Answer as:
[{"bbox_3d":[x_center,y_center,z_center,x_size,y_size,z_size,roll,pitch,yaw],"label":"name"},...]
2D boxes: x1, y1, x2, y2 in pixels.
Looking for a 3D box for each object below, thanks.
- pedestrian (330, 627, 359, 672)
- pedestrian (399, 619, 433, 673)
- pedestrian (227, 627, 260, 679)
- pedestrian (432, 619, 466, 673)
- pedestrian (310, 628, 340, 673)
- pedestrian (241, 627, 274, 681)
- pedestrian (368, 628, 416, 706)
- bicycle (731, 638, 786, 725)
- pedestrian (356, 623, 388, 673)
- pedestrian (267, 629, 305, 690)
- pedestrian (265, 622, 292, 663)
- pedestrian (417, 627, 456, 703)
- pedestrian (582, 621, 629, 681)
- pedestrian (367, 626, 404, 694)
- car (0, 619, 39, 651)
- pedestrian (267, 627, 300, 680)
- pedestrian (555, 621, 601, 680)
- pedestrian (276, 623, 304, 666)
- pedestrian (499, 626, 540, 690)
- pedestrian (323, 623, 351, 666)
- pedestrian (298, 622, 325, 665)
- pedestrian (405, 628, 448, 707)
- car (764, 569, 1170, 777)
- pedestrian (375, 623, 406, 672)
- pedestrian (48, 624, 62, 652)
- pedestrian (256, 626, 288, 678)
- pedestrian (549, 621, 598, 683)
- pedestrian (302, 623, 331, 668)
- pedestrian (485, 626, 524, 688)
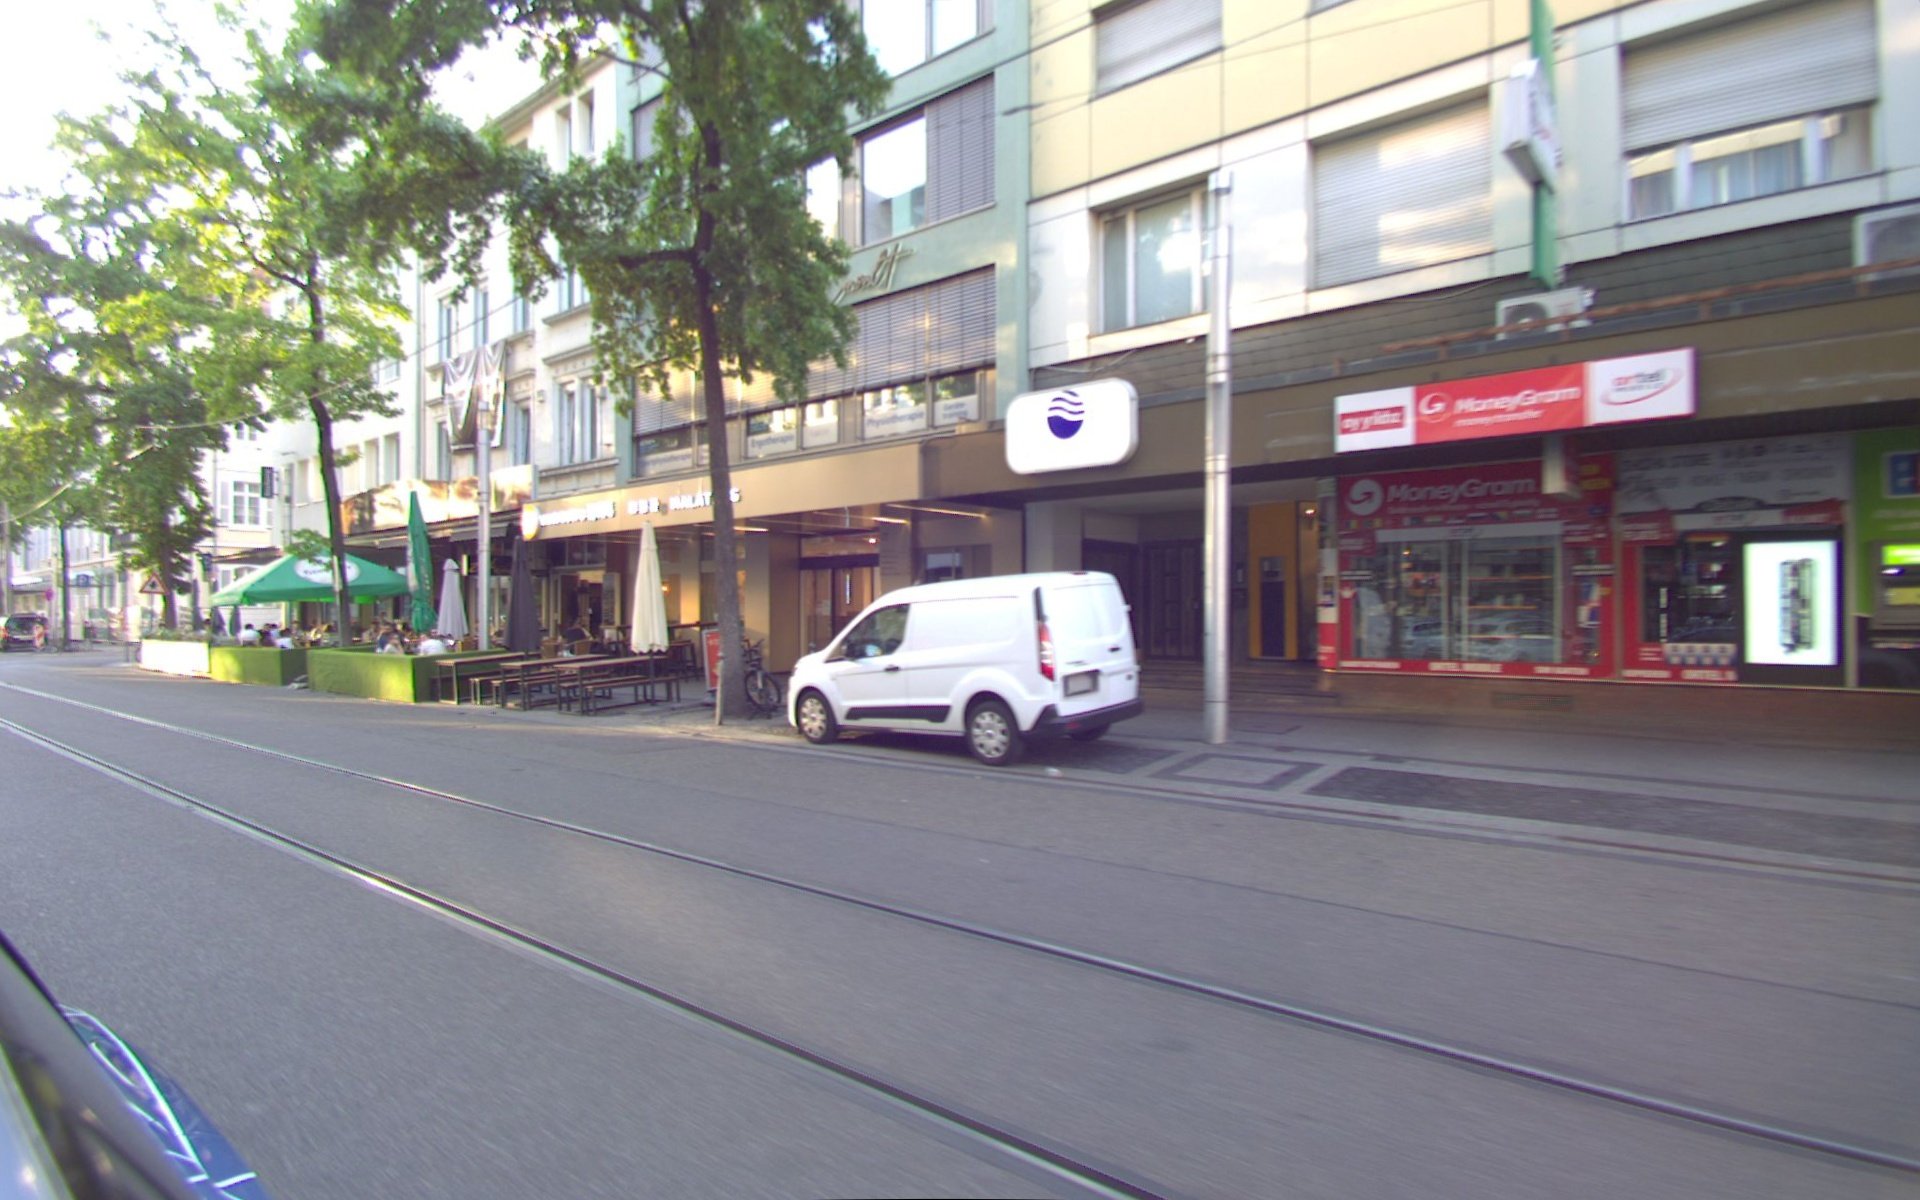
[{"bbox_3d":[-20.583,1.649,33.826,0.649,1.471,0.642,-1,-1,37],"label":"pedestrian"},{"bbox_3d":[-15.251,1.276,28.379,0.649,1.471,0.642,-1,-1,37],"label":"pedestrian"},{"bbox_3d":[-19.520,1.432,27.571,0.640,1.396,0.651,1,-2,-43],"label":"pedestrian"},{"bbox_3d":[-14.231,1.265,28.174,0.649,1.471,0.642,-1,-1,37],"label":"pedestrian"},{"bbox_3d":[-20.934,1.653,33.376,0.649,1.471,0.642,-1,-1,37],"label":"pedestrian"},{"bbox_3d":[-18.577,1.420,26.765,0.640,1.396,0.651,1,-2,-43],"label":"pedestrian"},{"bbox_3d":[-11.125,1.290,19.809,0.650,1.471,0.641,-2,-2,41],"label":"pedestrian"},{"bbox_3d":[-2.852,1.131,14.469,0.493,1.116,1.801,-1,-1,-2],"label":"bicycle"},{"bbox_3d":[-17.907,1.450,30.801,0.649,1.471,0.642,-1,-1,37],"label":"pedestrian"},{"bbox_3d":[-15.910,1.386,23.890,0.640,1.396,0.651,1,-2,-43],"label":"pedestrian"},{"bbox_3d":[-24.709,1.539,36.695,0.649,1.471,0.642,-1,-1,38],"label":"pedestrian"},{"bbox_3d":[-10.504,1.284,20.312,0.639,1.471,0.652,0,-1,-33],"label":"pedestrian"},{"bbox_3d":[-8.015,1.134,22.870,0.785,1.326,0.693,-1,-1,36],"label":"pedestrian"},{"bbox_3d":[-12.763,1.312,22.470,0.639,1.471,0.651,0,-1,-37],"label":"pedestrian"},{"bbox_3d":[-47.520,1.749,50.557,3.998,1.522,1.776,-1,-2,41],"label":"car"},{"bbox_3d":[-18.180,1.416,27.196,0.640,1.396,0.651,1,-2,-43],"label":"pedestrian"},{"bbox_3d":[-8.830,1.144,23.391,0.785,1.326,0.693,-1,-1,36],"label":"pedestrian"},{"bbox_3d":[-23.376,1.540,35.297,0.649,1.471,0.642,-1,-1,38],"label":"pedestrian"},{"bbox_3d":[-10.439,1.362,23.977,0.648,1.471,0.643,-1,-1,32],"label":"pedestrian"},{"bbox_3d":[-21.311,1.516,34.603,0.649,1.471,0.642,-1,-1,38],"label":"pedestrian"},{"bbox_3d":[-22.976,1.536,35.869,0.649,1.471,0.642,-1,-1,38],"label":"pedestrian"},{"bbox_3d":[-10.229,1.280,19.417,0.639,1.471,0.652,0,-1,-20],"label":"pedestrian"},{"bbox_3d":[-0.073,0.674,11.197,4.328,1.835,1.807,-1,1,42],"label":"car"},{"bbox_3d":[-17.494,1.446,31.104,0.649,1.471,0.642,-1,-1,37],"label":"pedestrian"},{"bbox_3d":[-48.352,2.043,54.075,0.543,1.471,0.484,-1,-1,38],"label":"pedestrian"},{"bbox_3d":[-19.064,1.427,28.026,0.640,1.396,0.651,1,-2,-43],"label":"pedestrian"},{"bbox_3d":[-8.521,1.139,22.319,0.785,1.326,0.693,-1,-1,36],"label":"pedestrian"},{"bbox_3d":[-21.634,1.518,34.001,0.649,1.471,0.642,-1,-1,37],"label":"pedestrian"},{"bbox_3d":[-11.107,1.370,24.667,0.649,1.471,0.642,-1,-1,38],"label":"pedestrian"}]
